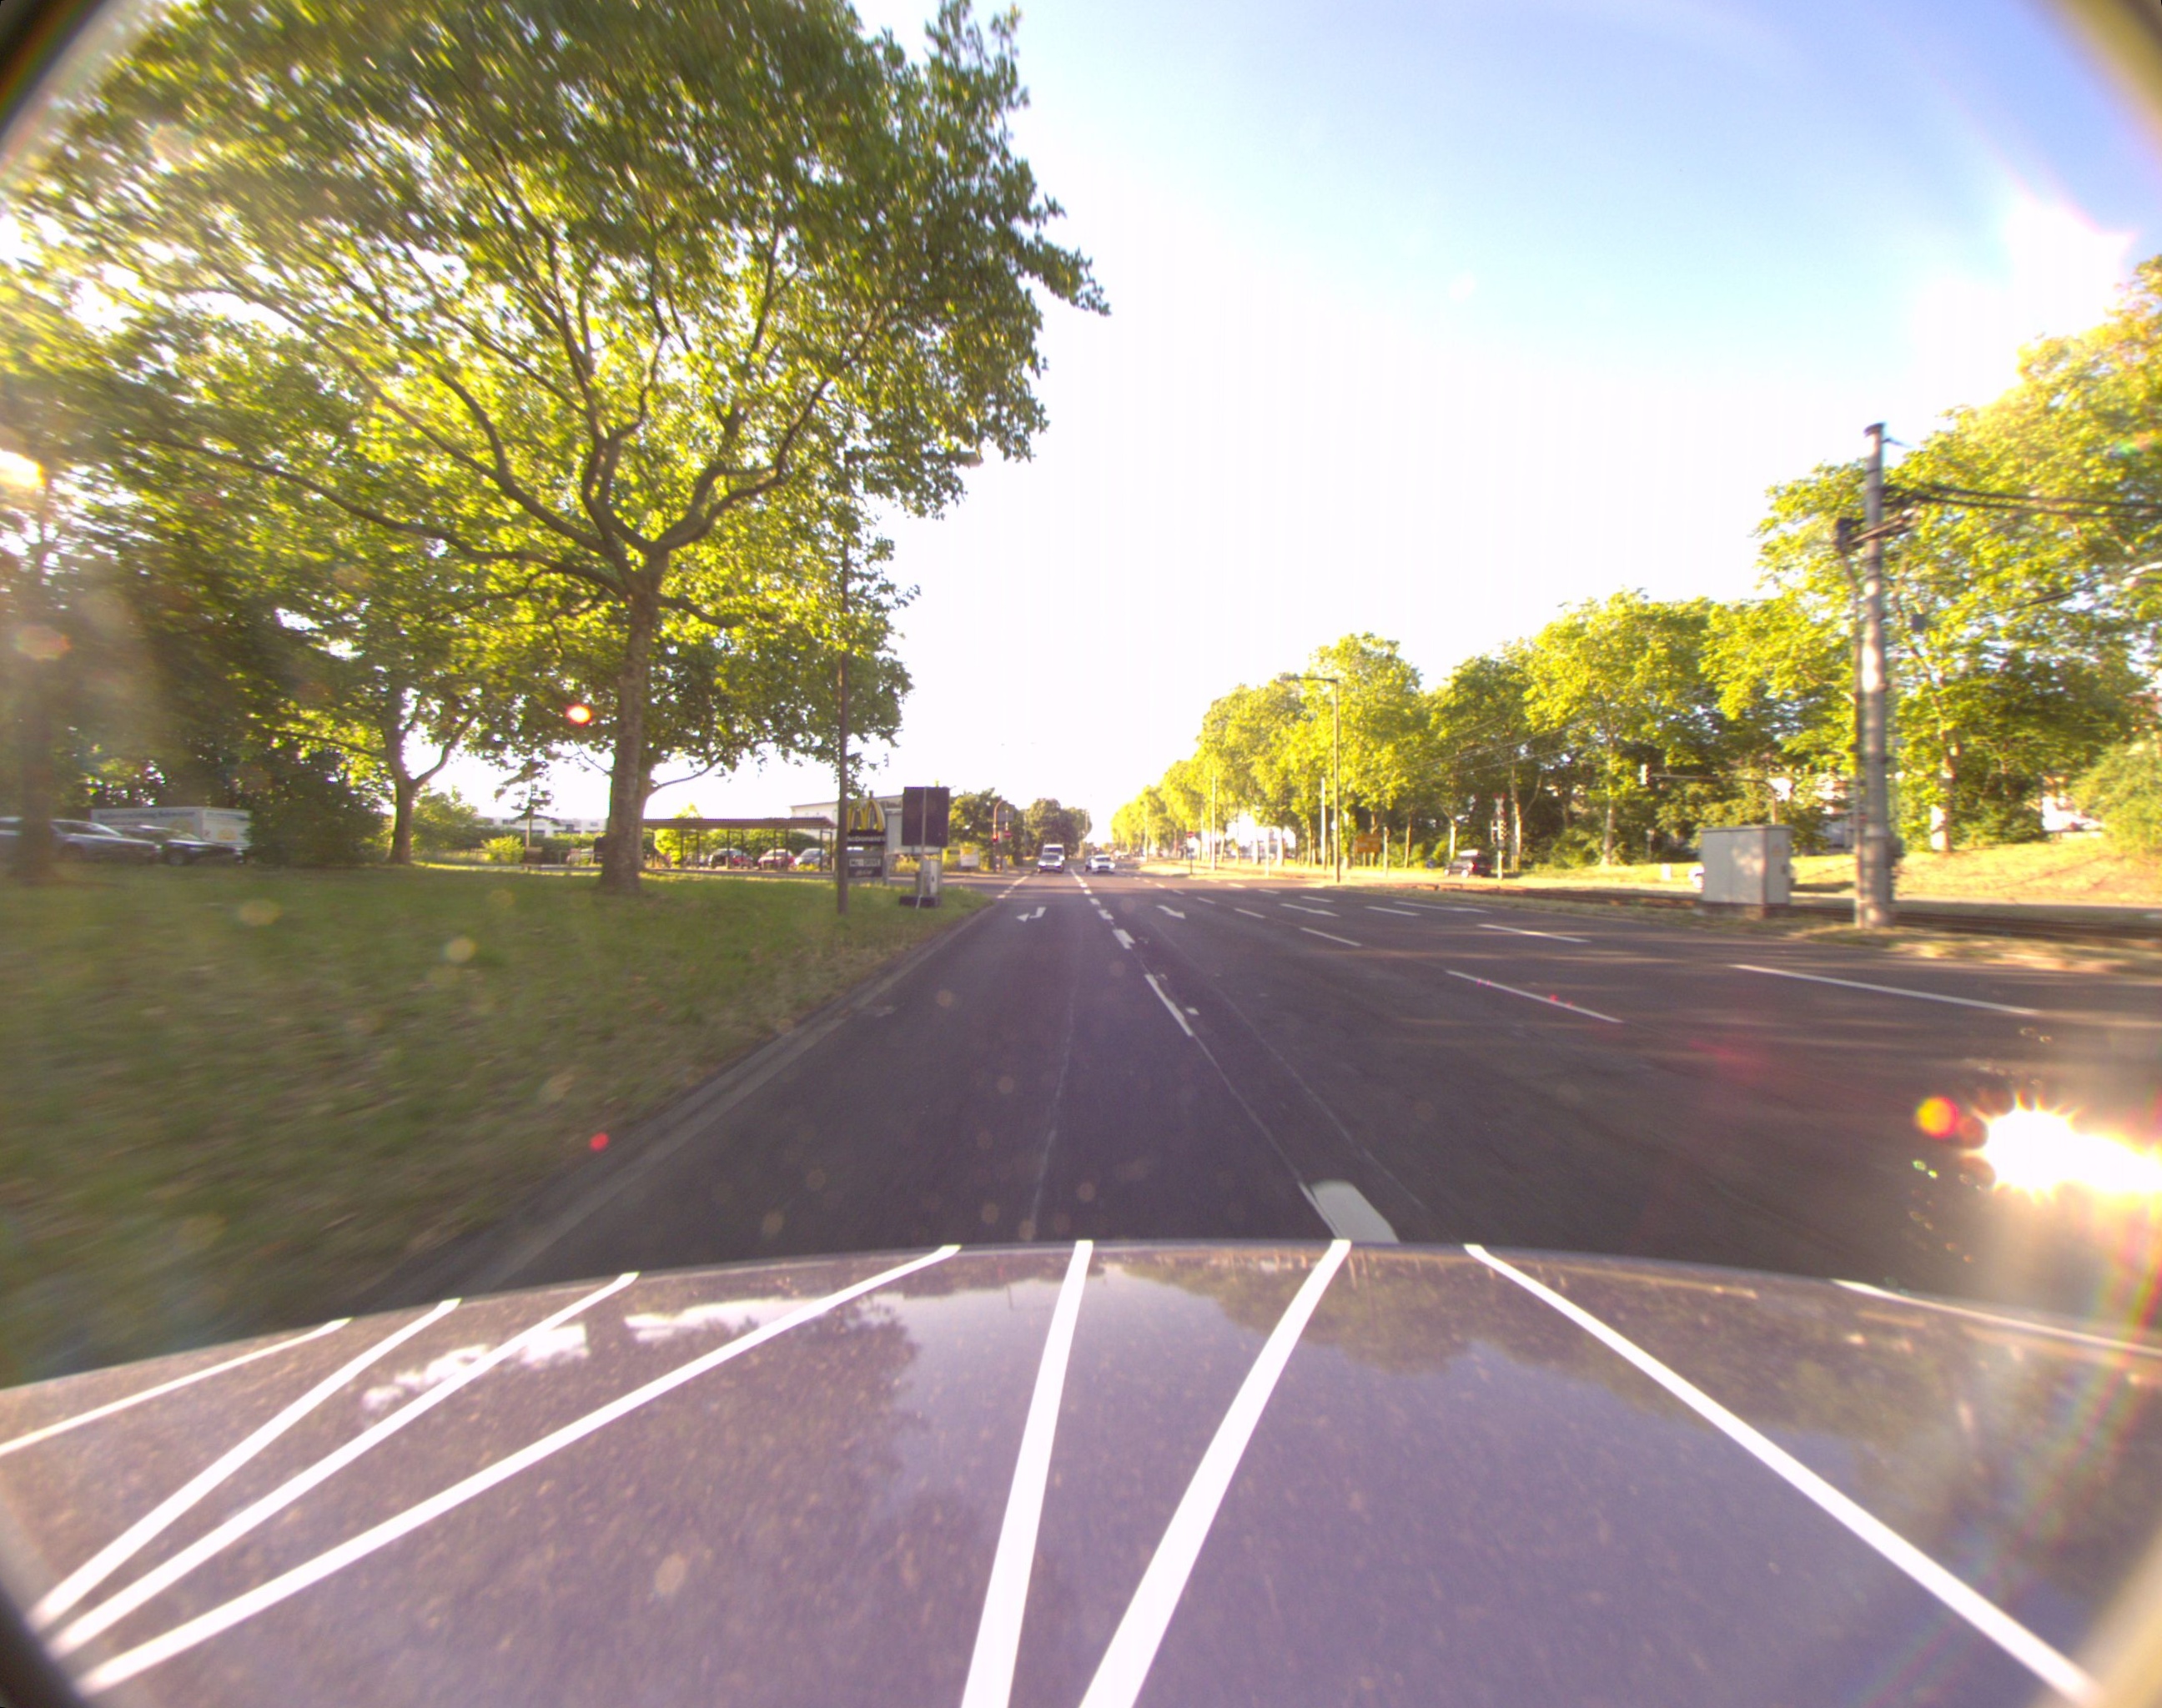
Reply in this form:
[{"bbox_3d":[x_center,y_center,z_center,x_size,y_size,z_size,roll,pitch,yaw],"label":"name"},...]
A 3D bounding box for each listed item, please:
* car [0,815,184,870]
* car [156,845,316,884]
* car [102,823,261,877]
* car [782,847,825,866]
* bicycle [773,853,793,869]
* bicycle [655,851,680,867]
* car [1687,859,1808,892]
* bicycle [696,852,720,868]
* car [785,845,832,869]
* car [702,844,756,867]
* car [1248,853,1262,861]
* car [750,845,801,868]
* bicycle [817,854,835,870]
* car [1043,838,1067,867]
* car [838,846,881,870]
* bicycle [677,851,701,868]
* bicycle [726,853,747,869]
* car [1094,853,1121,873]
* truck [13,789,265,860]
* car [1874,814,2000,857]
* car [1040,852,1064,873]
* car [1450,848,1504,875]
[{"bbox_3d":[-31.080,-0.344,23.403,4.399,1.565,2.043,1,0,-1],"label":"car"},{"bbox_3d":[-36.530,0.437,33.003,1.826,1.546,4.266,1,0,21],"label":"car"},{"bbox_3d":[-30.795,-0.120,26.084,3.500,1.720,1.679,1,0,1],"label":"car"},{"bbox_3d":[-25.532,0.251,70.028,2.117,1.627,4.003,1,0,8],"label":"car"},{"bbox_3d":[-19.635,0.455,50.084,0.544,1.032,1.893,1,0,0],"label":"bicycle"},{"bbox_3d":[-27.279,0.314,50.166,0.543,1.032,1.894,1,0,3],"label":"bicycle"},{"bbox_3d":[31.294,0.971,35.848,1.999,1.432,4.190,1,0,-1],"label":"car"},{"bbox_3d":[-24.513,0.389,50.000,0.543,1.032,1.894,1,0,3],"label":"bicycle"},{"bbox_3d":[-19.955,0.250,55.872,2.119,1.639,3.999,1,0,-2],"label":"car"},{"bbox_3d":[-26.249,0.142,56.783,2.119,1.639,4.319,1,0,-2],"label":"car"},{"bbox_3d":[32.577,0.593,142.645,1.629,1.433,3.985,1,0,-1],"label":"car"},{"bbox_3d":[-22.646,0.207,56.513,2.119,1.639,4.319,1,0,-2],"label":"car"},{"bbox_3d":[-16.781,0.510,49.992,0.544,1.032,1.893,1,0,0],"label":"bicycle"},{"bbox_3d":[-2.348,-0.101,70.497,2.008,2.551,5.876,1,0,-1],"label":"car"},{"bbox_3d":[-16.516,0.296,56.794,2.119,1.639,4.226,1,0,-2],"label":"car"},{"bbox_3d":[-25.765,0.356,49.979,0.543,1.032,1.894,1,0,3],"label":"bicycle"},{"bbox_3d":[-22.697,0.430,50.080,0.544,1.032,1.893,1,0,0],"label":"bicycle"},{"bbox_3d":[2.186,0.718,62.284,1.874,1.608,4.002,1,0,6],"label":"car"},{"bbox_3d":[-55.257,-1.661,44.776,11.089,3.853,3.195,1,0,1],"label":"truck"},{"bbox_3d":[53.855,-1.113,48.003,1.805,2.498,5.630,1,0,4],"label":"car"},{"bbox_3d":[-2.330,0.645,61.773,1.875,1.608,4.547,1,0,-2],"label":"car"},{"bbox_3d":[30.704,0.570,59.095,1.999,2.054,4.190,1,0,0],"label":"car"}]
